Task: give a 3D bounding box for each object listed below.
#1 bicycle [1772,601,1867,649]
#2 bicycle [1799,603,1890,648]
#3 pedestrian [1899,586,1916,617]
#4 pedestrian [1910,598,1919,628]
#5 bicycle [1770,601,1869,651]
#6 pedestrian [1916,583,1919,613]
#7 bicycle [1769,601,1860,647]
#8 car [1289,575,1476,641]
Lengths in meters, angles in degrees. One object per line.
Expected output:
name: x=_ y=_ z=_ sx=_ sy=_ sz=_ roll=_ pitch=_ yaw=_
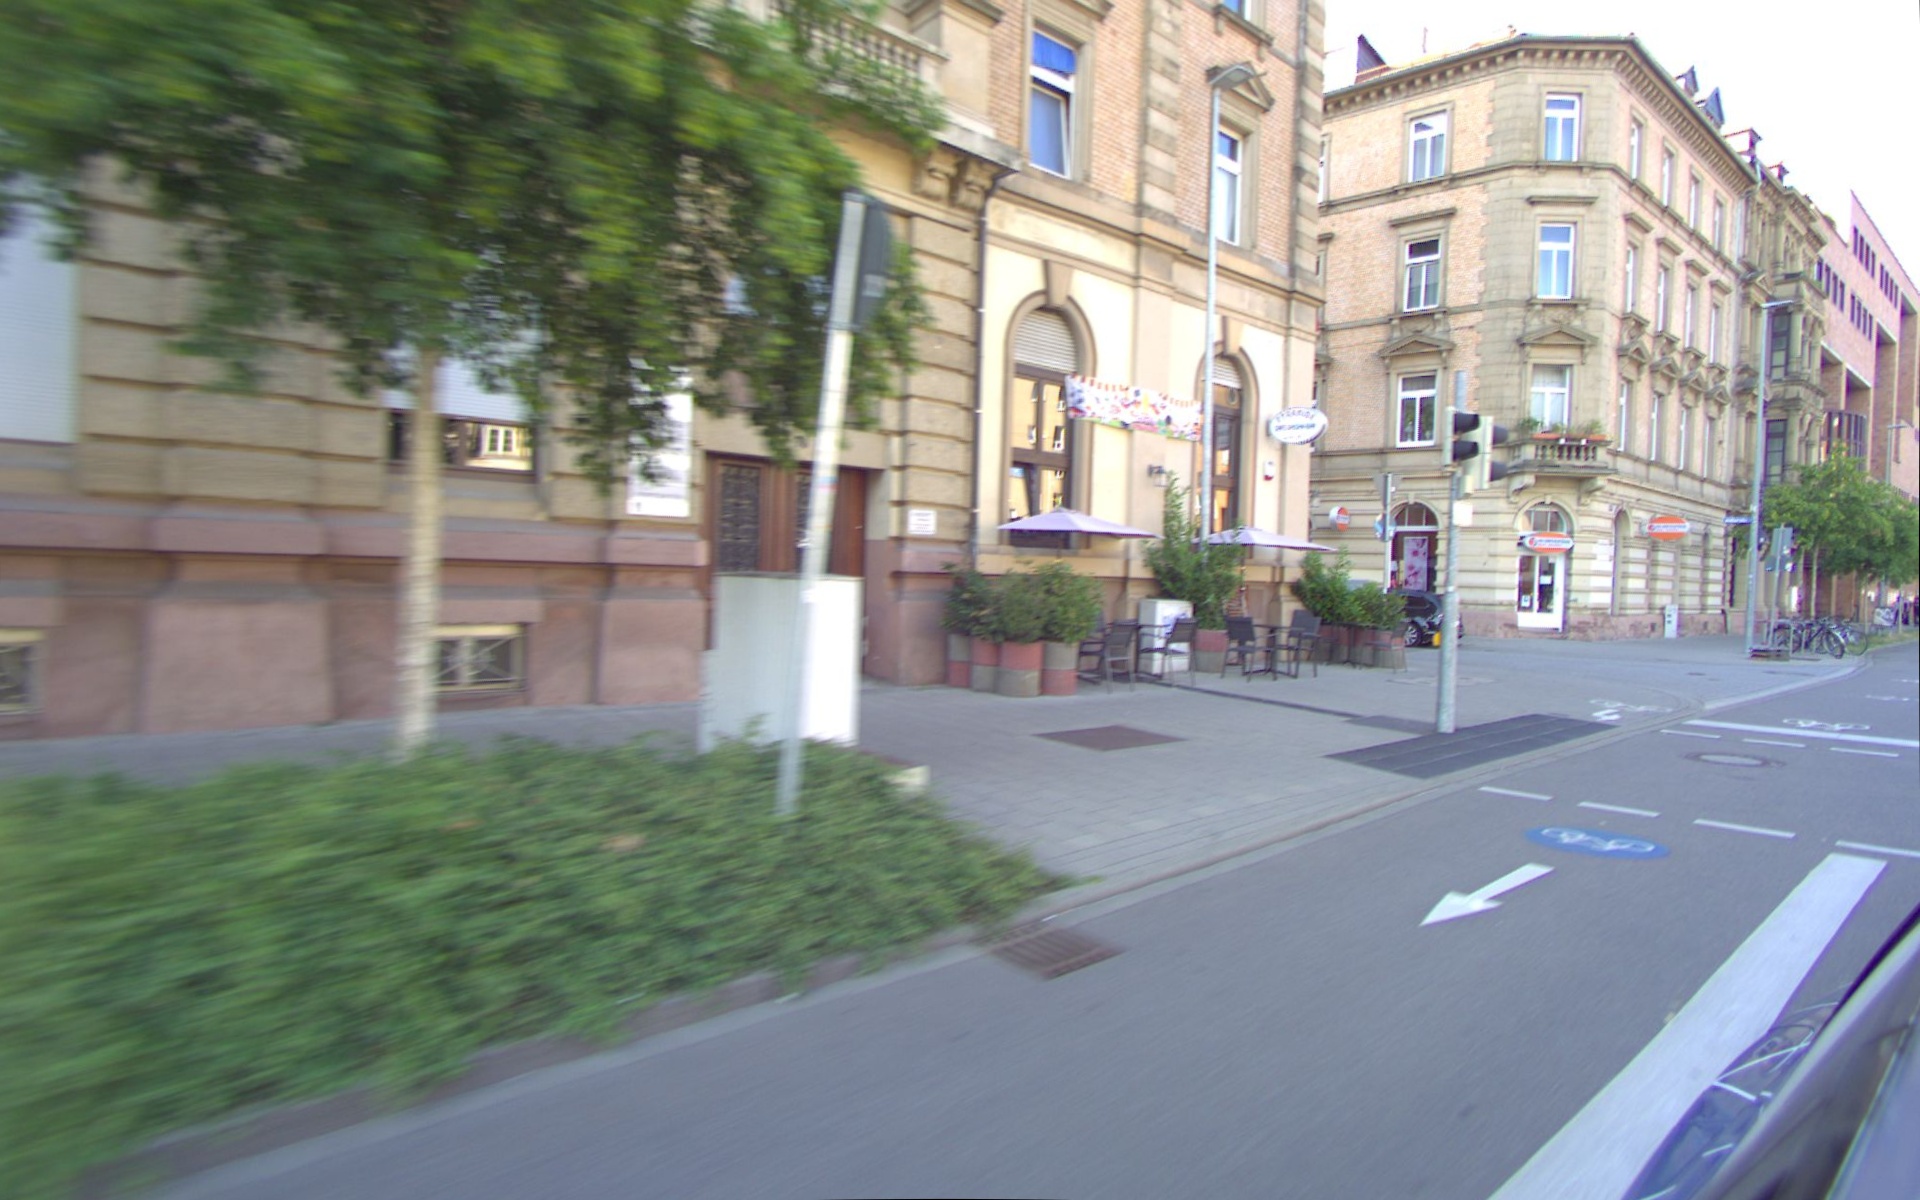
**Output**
bicycle: x=23.039 y=0.659 z=27.147 sx=0.653 sy=1.077 sz=1.828 roll=1 pitch=4 yaw=-45
bicycle: x=25.168 y=0.712 z=28.821 sx=0.653 sy=1.077 sz=1.828 roll=1 pitch=4 yaw=-45
pedestrian: x=55.469 y=0.081 z=59.257 sx=0.532 sy=1.778 sz=0.418 roll=2 pitch=1 yaw=23
pedestrian: x=56.773 y=0.785 z=59.888 sx=0.681 sy=1.778 sz=0.539 roll=1 pitch=2 yaw=-30
bicycle: x=22.087 y=0.645 z=26.027 sx=0.653 sy=1.077 sz=1.828 roll=1 pitch=4 yaw=-45
pedestrian: x=58.433 y=-0.102 z=61.212 sx=0.683 sy=1.778 sz=0.734 roll=1 pitch=2 yaw=-38
bicycle: x=23.858 y=0.666 z=28.291 sx=0.653 sy=1.077 sz=1.828 roll=1 pitch=4 yaw=-45
car: x=10.825 y=0.184 z=26.101 sx=4.135 sy=1.405 sz=1.595 roll=4 pitch=0 yaw=39
